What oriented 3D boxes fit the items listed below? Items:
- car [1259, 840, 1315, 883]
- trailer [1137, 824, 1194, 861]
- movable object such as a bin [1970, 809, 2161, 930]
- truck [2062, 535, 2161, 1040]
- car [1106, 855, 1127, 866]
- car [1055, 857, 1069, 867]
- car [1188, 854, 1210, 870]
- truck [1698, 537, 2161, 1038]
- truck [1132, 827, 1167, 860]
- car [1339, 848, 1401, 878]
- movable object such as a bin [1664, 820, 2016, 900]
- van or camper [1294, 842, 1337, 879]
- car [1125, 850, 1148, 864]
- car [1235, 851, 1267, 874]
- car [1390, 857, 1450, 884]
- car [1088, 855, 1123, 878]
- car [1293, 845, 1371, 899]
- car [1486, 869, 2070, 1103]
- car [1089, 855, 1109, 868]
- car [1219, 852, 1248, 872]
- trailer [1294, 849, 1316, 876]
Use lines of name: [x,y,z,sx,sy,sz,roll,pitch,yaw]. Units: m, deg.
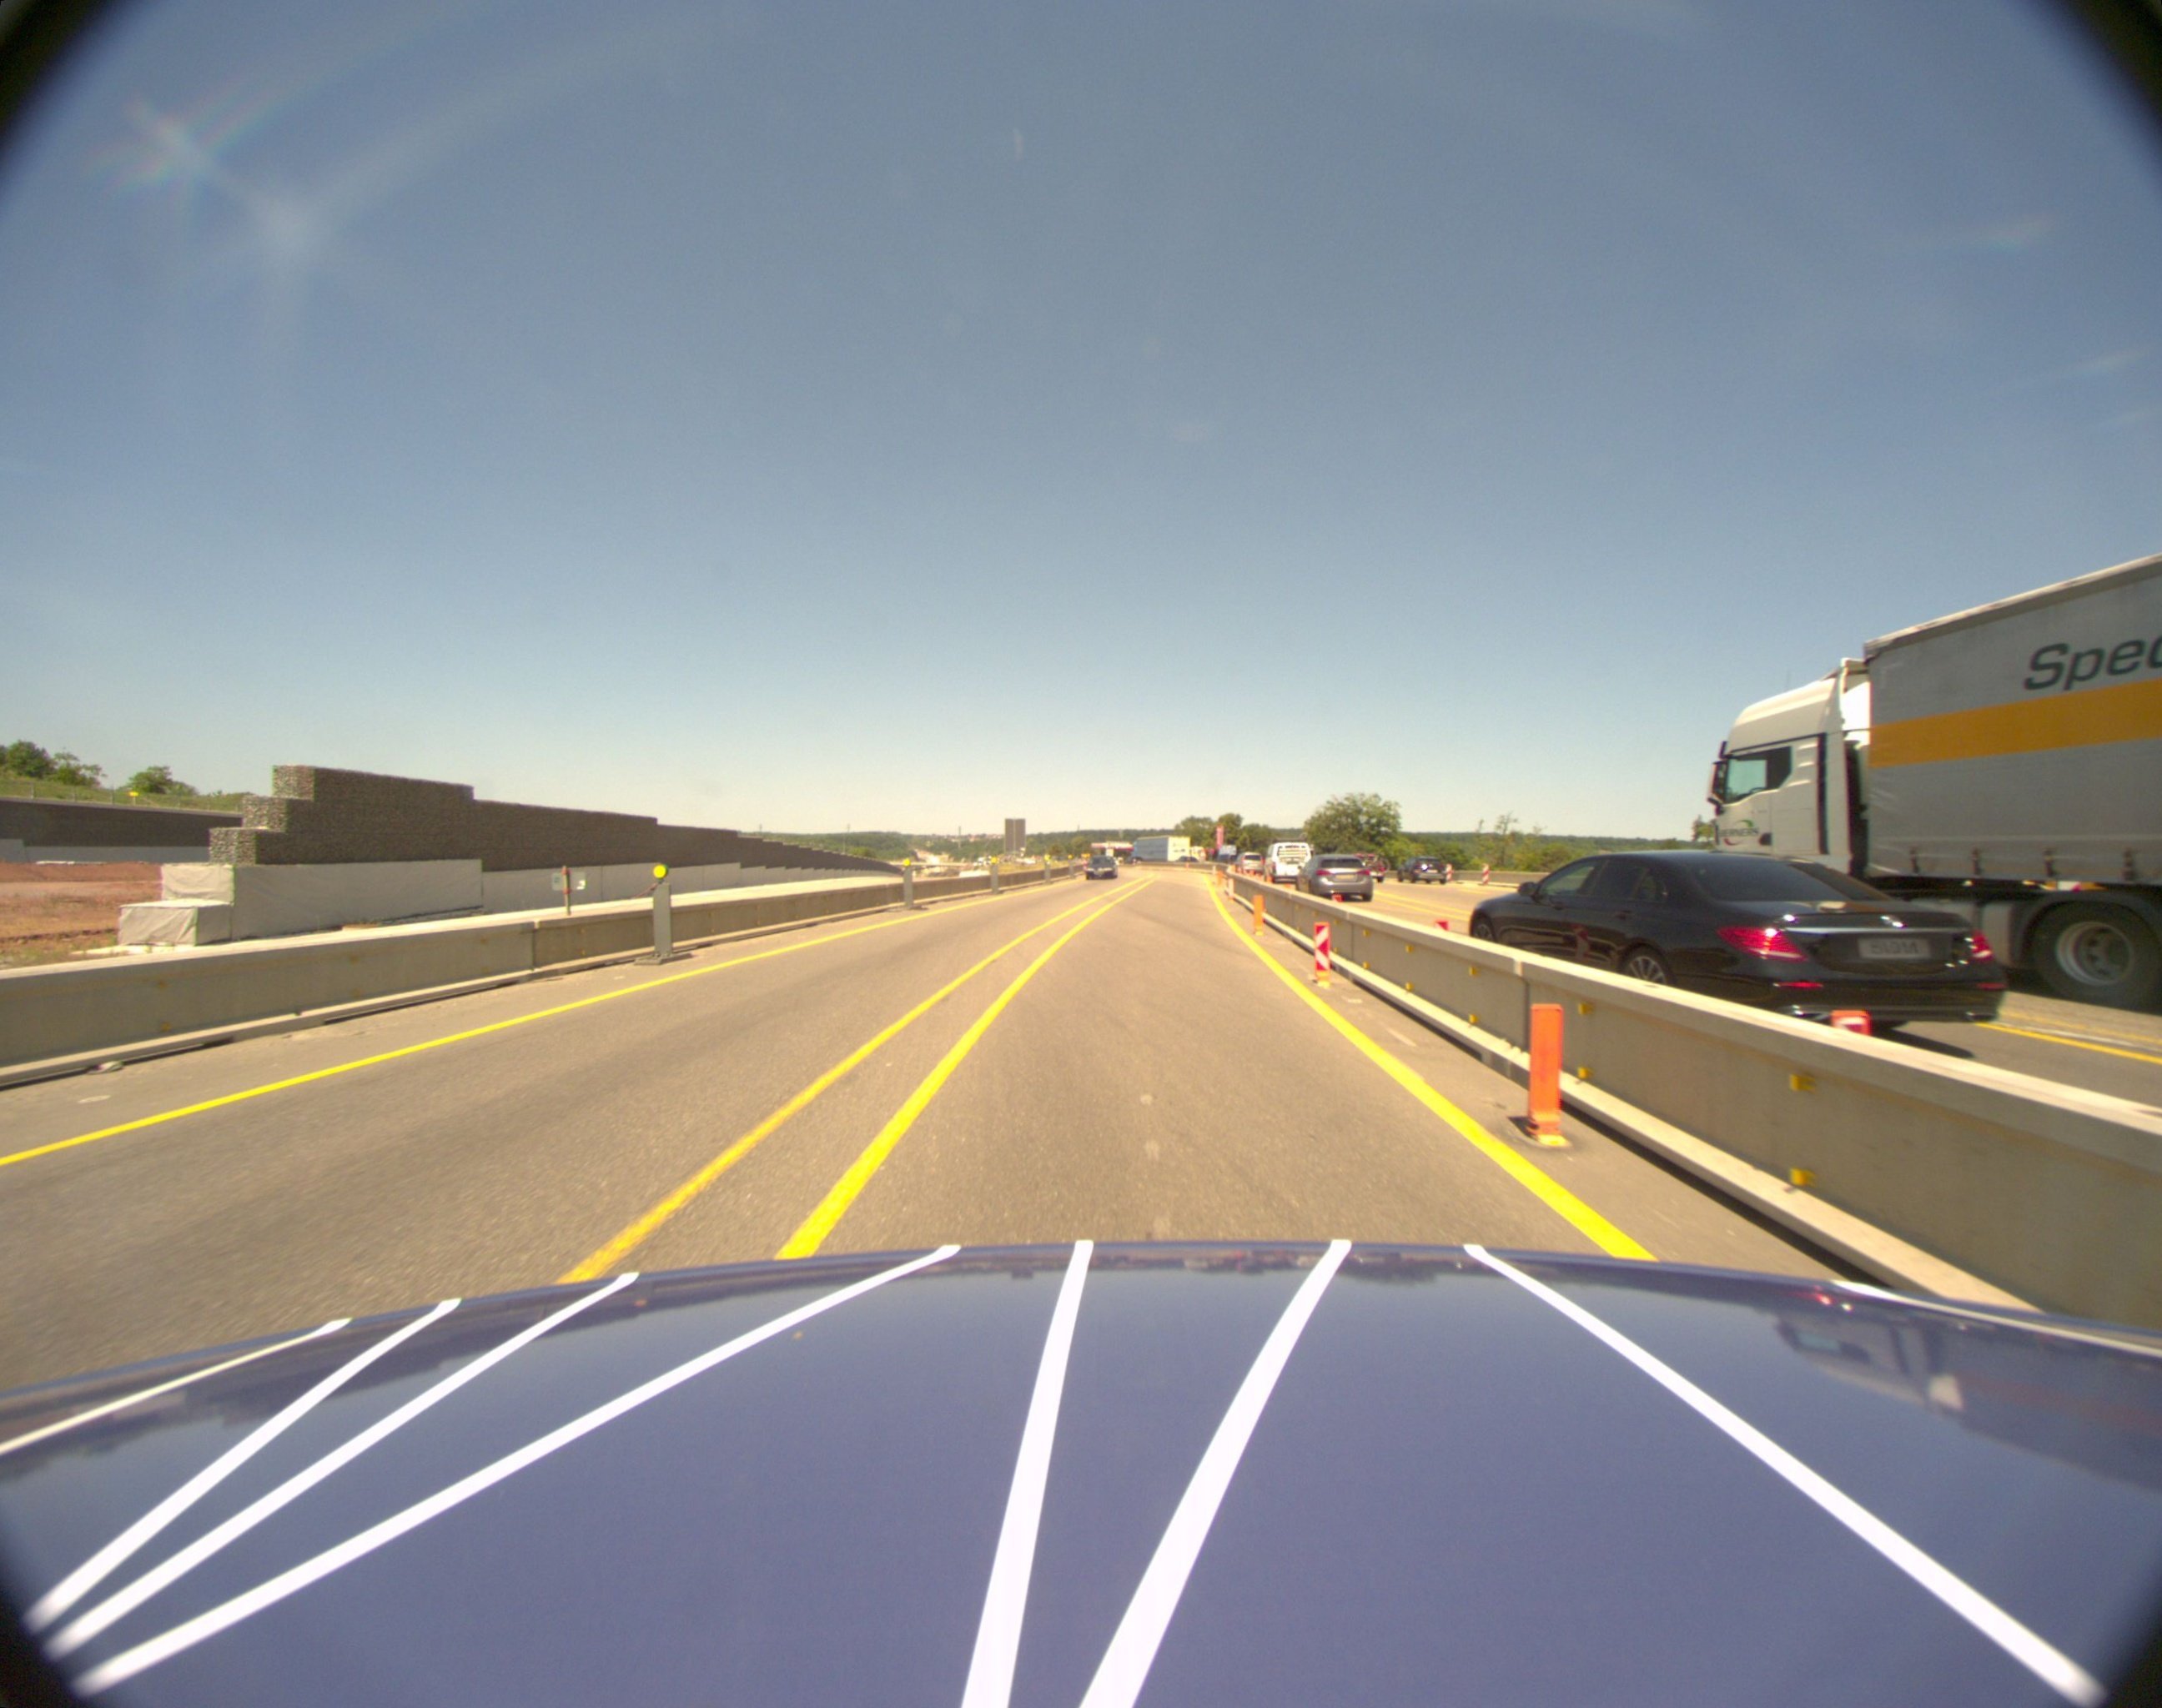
car: [10.123,0.353,37.725,1.876,1.861,5.061,-4,-1,7]
trailer: [10.303,-1.314,94.752,2.925,4.104,13.902,3,0,-11]
movable object such as a bin: [23.431,0.305,16.049,3.297,2.426,5.443,0,0,10]
truck: [10.031,-0.567,1.081,2.779,4.252,11.784,1,0,5]
car: [5.061,0.942,107.558,2.023,1.436,4.584,0,0,-10]
car: [-3.238,1.348,129.520,1.709,1.674,3.785,-1,0,-12]
car: [11.619,0.751,74.954,1.693,1.472,4.472,3,0,4]
truck: [10.752,-0.549,8.659,2.776,4.235,6.202,1,0,6]
truck: [9.054,-1.357,101.198,2.924,4.104,6.132,2,0,-11]
car: [15.213,0.465,40.242,1.997,1.493,4.657,-1,0,7]
movable object such as a bin: [25.727,0.272,26.551,7.909,2.418,3.725,-2,0,27]
van or camper: [17.686,0.466,57.555,2.102,2.526,6.309,2,0,9]
car: [6.806,0.390,94.153,1.774,1.598,4.706,3,0,-9]
car: [12.088,0.604,54.258,1.760,1.606,4.231,0,0,7]
car: [19.234,0.913,43.291,1.809,1.385,4.657,3,0,7]
car: [1.534,0.789,46.287,1.809,1.298,4.003,2,-2,6]
car: [7.896,0.523,24.223,1.512,1.595,3.954,0,0,5]
car: [5.540,0.880,6.928,1.729,1.400,4.130,0,0,4]
car: [2.399,1.040,101.031,1.819,1.652,3.997,-2,0,-10]
car: [14.635,0.760,73.199,1.780,1.754,4.710,3,0,0]
trailer: [36.681,1.515,124.456,3.153,4.086,14.185,2,-1,16]
